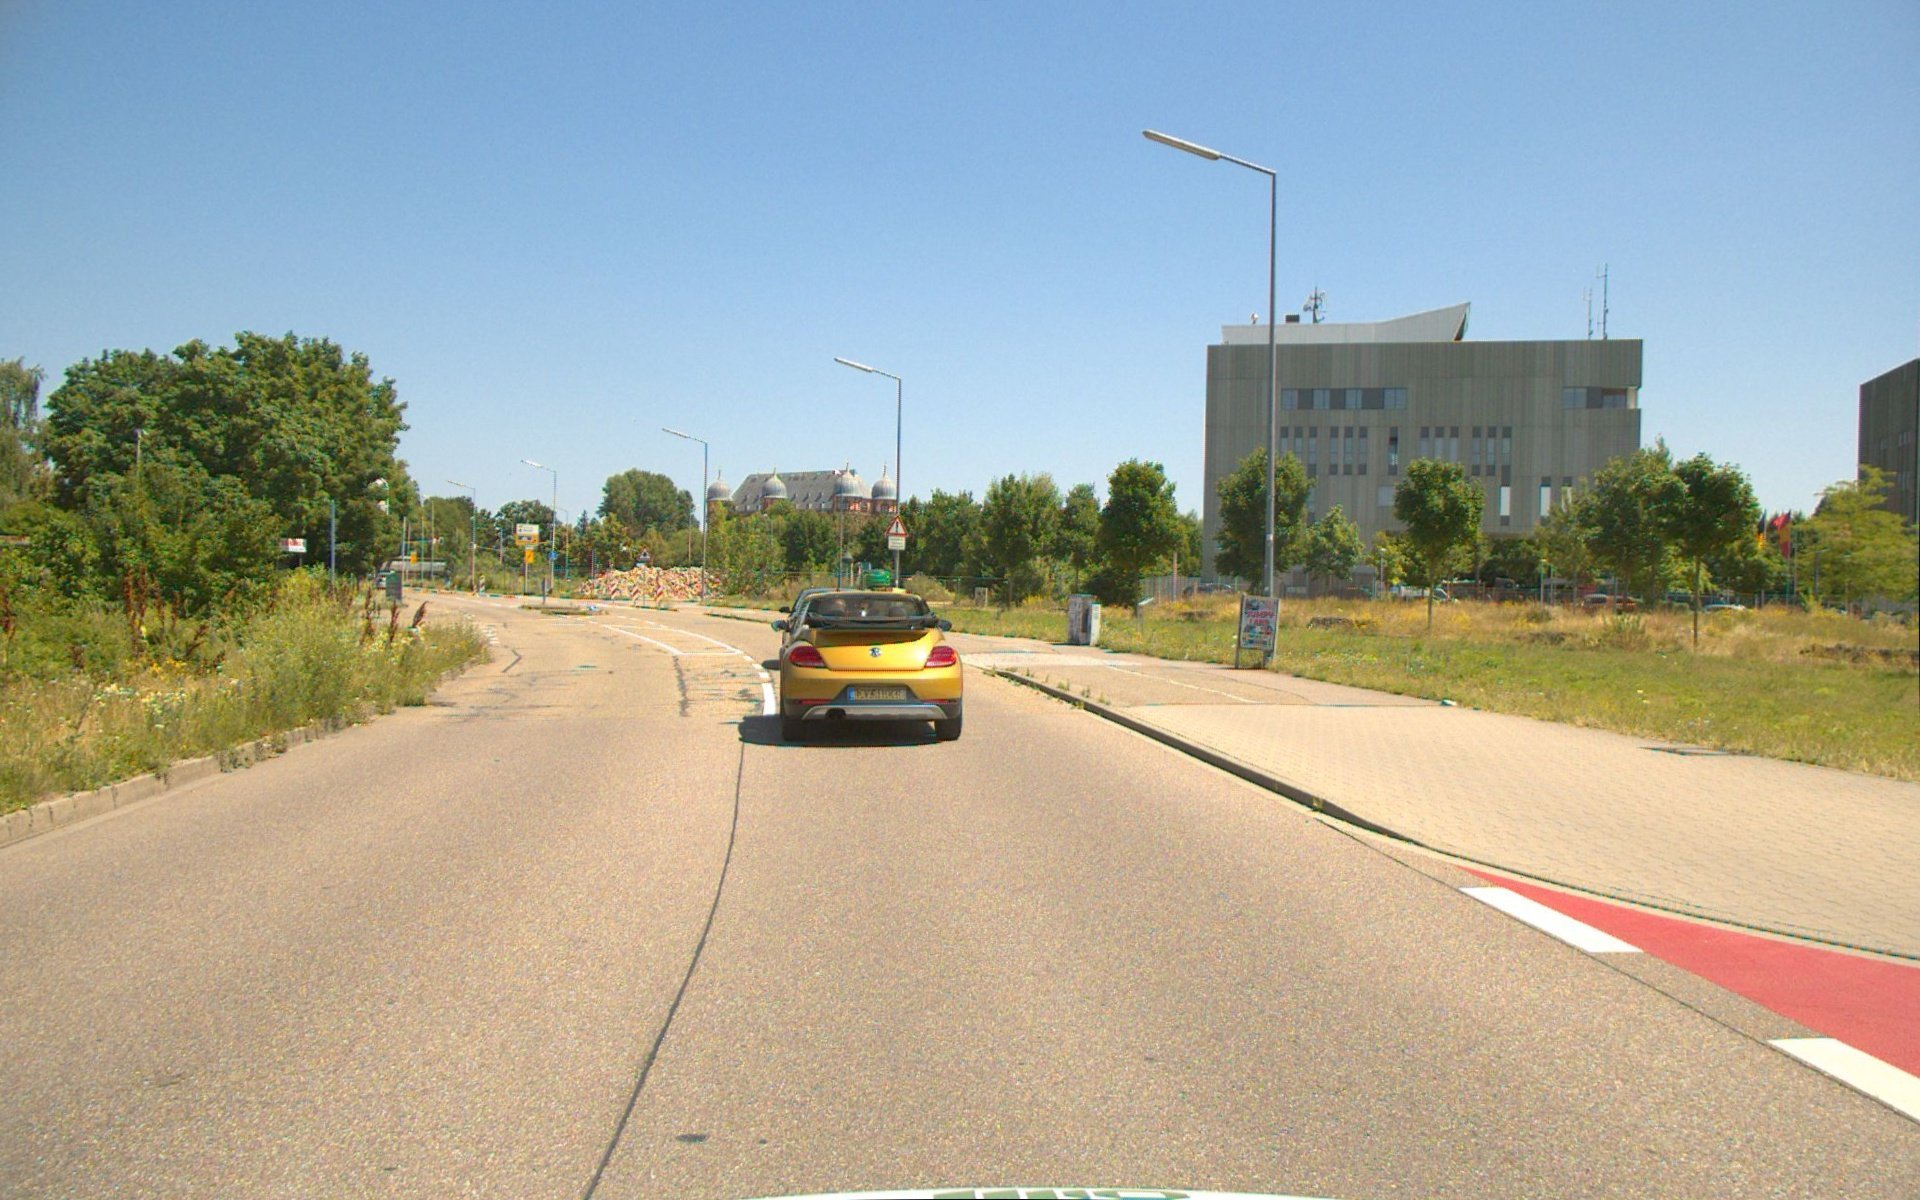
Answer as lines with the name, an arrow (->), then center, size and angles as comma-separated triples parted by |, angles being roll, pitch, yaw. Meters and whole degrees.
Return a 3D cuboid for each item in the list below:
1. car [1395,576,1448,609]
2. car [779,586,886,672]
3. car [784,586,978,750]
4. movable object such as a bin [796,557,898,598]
car -> 34.221, -0.568, 122.664 | 3.761, 2.334, 1.743 | 1, 0, 16
car -> -2.428, 0.486, 30.660 | 1.694, 1.468, 3.993 | 1, 0, -8
car -> -0.928, 0.620, 17.225 | 1.756, 1.461, 3.808 | 1, 1, -7
movable object such as a bin -> -9.795, -1.940, 141.258 | 4.884, 3.317, 10.372 | 1, 0, -28
